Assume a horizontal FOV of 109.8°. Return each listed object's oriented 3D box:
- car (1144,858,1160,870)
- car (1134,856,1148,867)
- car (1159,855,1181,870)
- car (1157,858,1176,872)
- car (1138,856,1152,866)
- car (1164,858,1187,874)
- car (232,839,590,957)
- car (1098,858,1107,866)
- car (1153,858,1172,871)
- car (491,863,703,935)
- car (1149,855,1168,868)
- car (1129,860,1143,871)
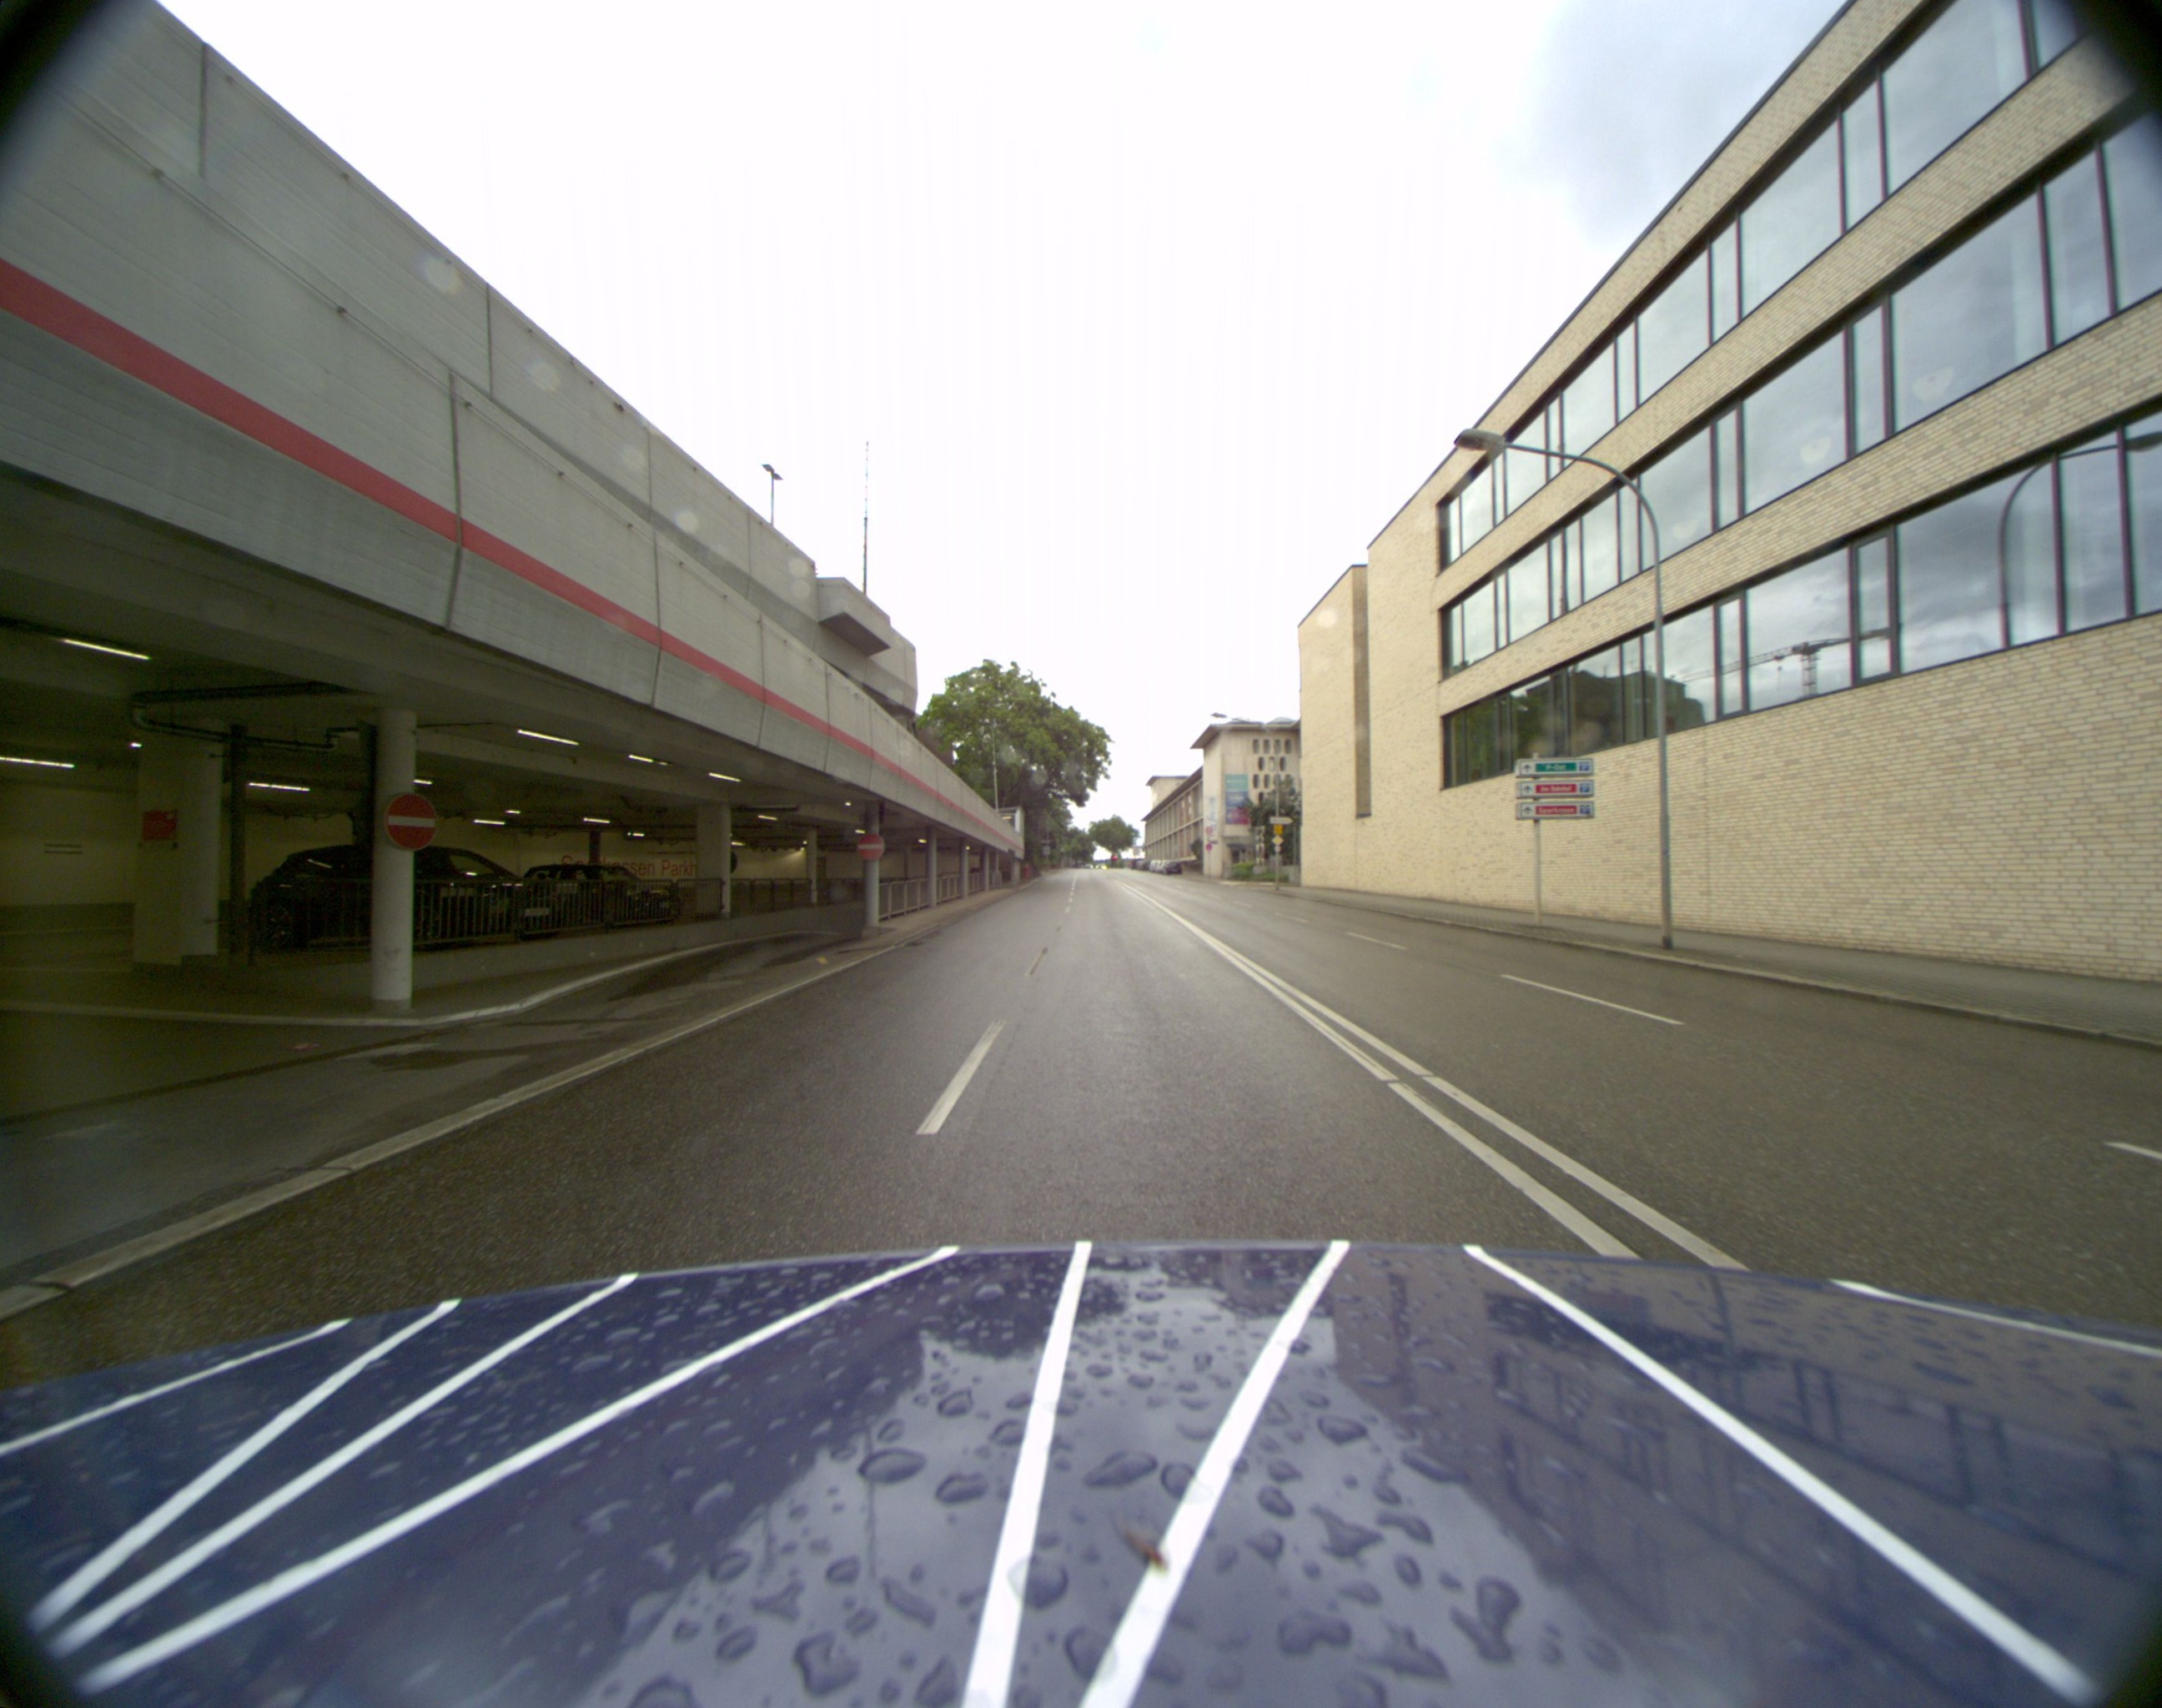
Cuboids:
[{"bbox_3d":[10.709,1.556,114.574,1.999,1.701,3.999,-1,1,0],"label":"car"},{"bbox_3d":[10.703,1.296,135.704,1.999,1.637,3.998,-3,2,-1],"label":"car"},{"bbox_3d":[10.463,1.003,89.627,1.998,1.632,3.999,-2,1,0],"label":"car"},{"bbox_3d":[10.663,1.351,94.783,1.998,1.503,4.000,-2,1,2],"label":"car"},{"bbox_3d":[10.689,1.180,127.023,1.998,1.528,3.999,-2,1,0],"label":"car"},{"bbox_3d":[10.434,1.325,84.031,1.999,1.520,3.999,-2,1,-1],"label":"car"},{"bbox_3d":[-10.820,0.684,12.412,4.584,1.630,1.823,-3,1,10],"label":"car"},{"bbox_3d":[5.823,2.221,206.099,1.805,2.002,3.998,-3,1,-5],"label":"car"},{"bbox_3d":[10.707,1.374,99.941,1.998,1.482,4.185,-2,1,1],"label":"car"},{"bbox_3d":[-10.861,0.974,17.200,3.730,1.496,1.808,0,-1,7],"label":"car"},{"bbox_3d":[10.821,1.074,106.064,1.999,1.521,3.999,-5,1,-1],"label":"car"},{"bbox_3d":[9.159,1.882,127.733,1.998,1.569,3.999,-2,1,0],"label":"car"}]
